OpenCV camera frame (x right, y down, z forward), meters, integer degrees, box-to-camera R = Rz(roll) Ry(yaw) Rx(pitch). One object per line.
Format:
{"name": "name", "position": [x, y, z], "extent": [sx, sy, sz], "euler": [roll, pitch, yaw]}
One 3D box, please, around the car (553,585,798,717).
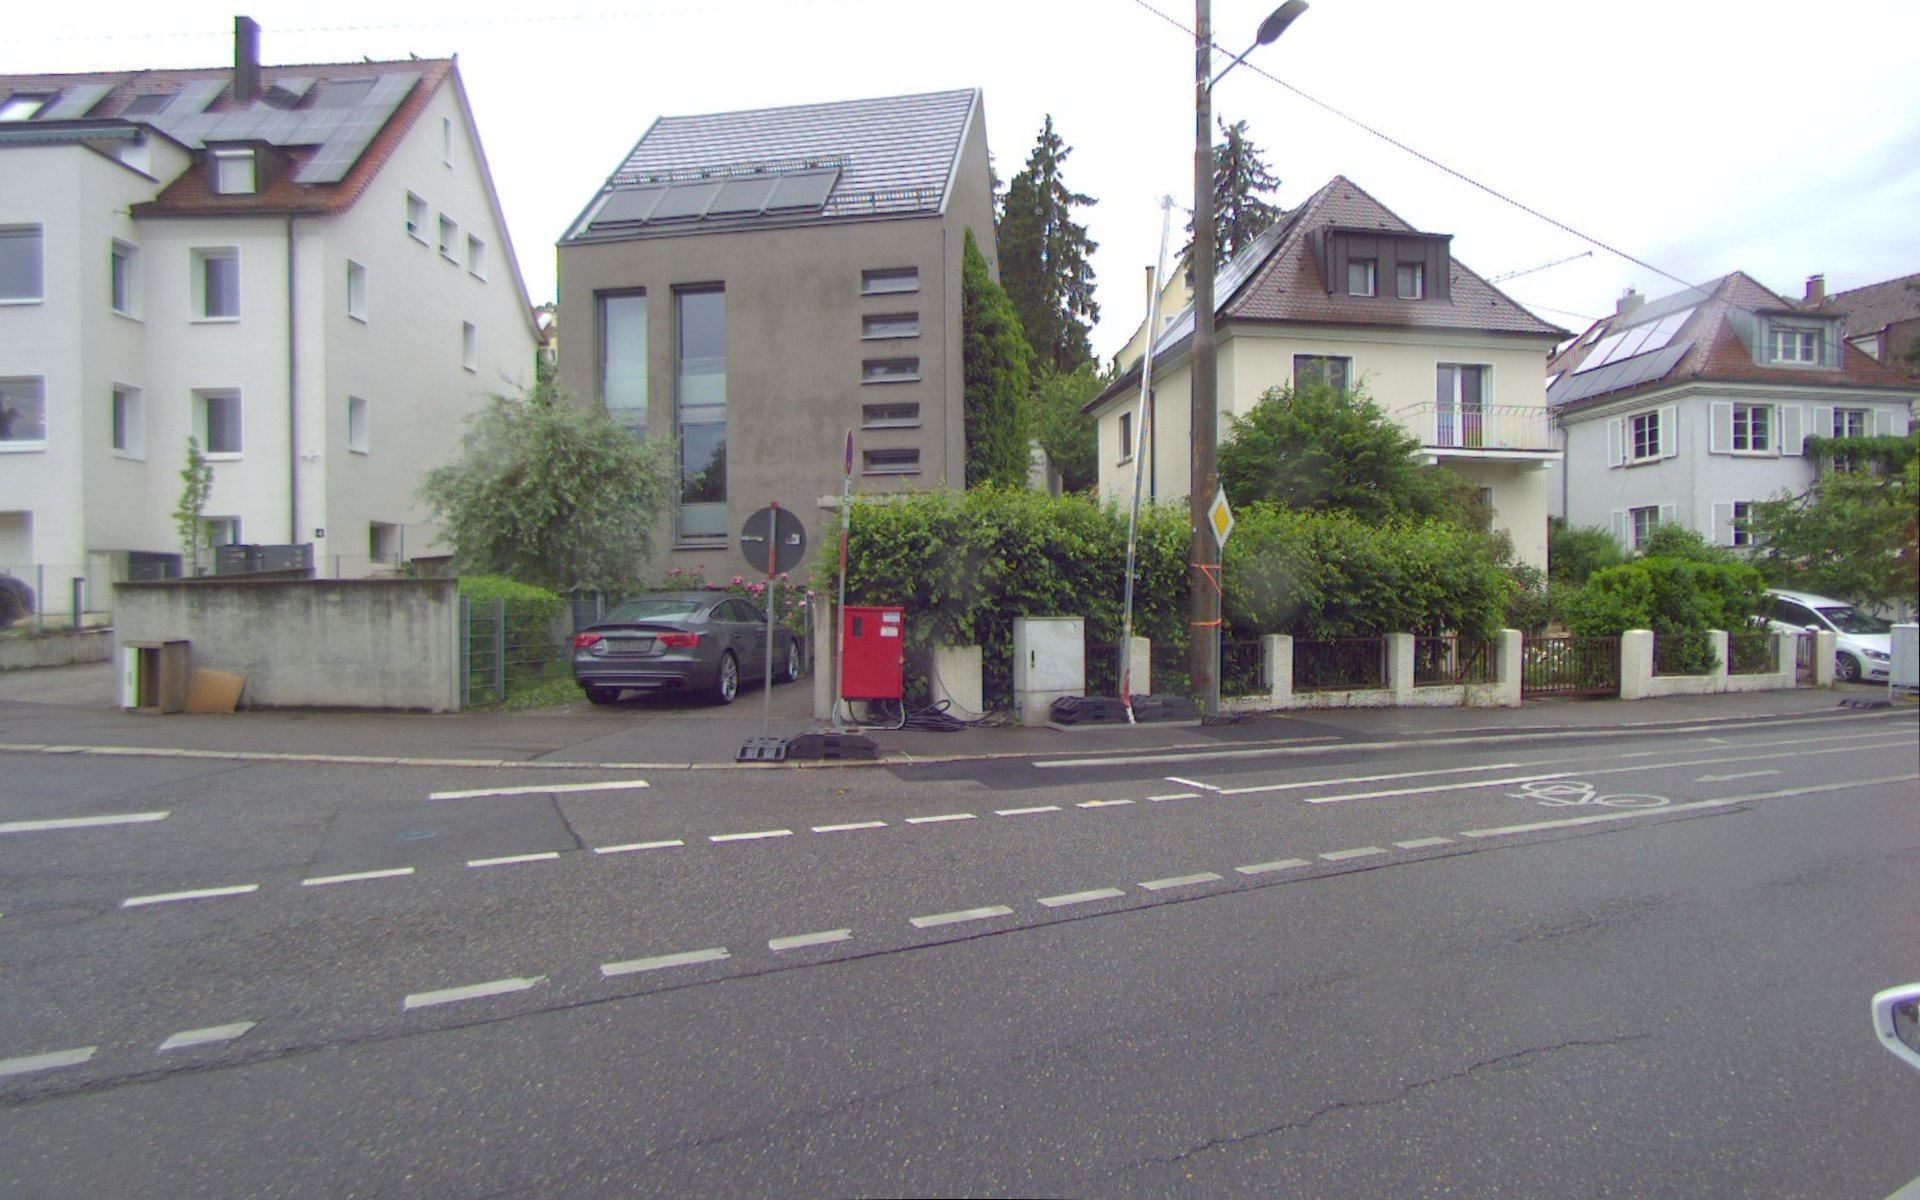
{"name": "car", "position": [-3.617, 0.561, 13.580], "extent": [1.740, 1.506, 4.002], "euler": [0, 1, 7]}

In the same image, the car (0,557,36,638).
{"name": "car", "position": [-16.740, 0.047, 15.173], "extent": [1.576, 1.298, 4.008], "euler": [2, 4, 6]}

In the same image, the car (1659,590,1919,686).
{"name": "car", "position": [19.587, 0.814, 23.917], "extent": [1.870, 2.033, 4.628], "euler": [1, 0, -18]}
